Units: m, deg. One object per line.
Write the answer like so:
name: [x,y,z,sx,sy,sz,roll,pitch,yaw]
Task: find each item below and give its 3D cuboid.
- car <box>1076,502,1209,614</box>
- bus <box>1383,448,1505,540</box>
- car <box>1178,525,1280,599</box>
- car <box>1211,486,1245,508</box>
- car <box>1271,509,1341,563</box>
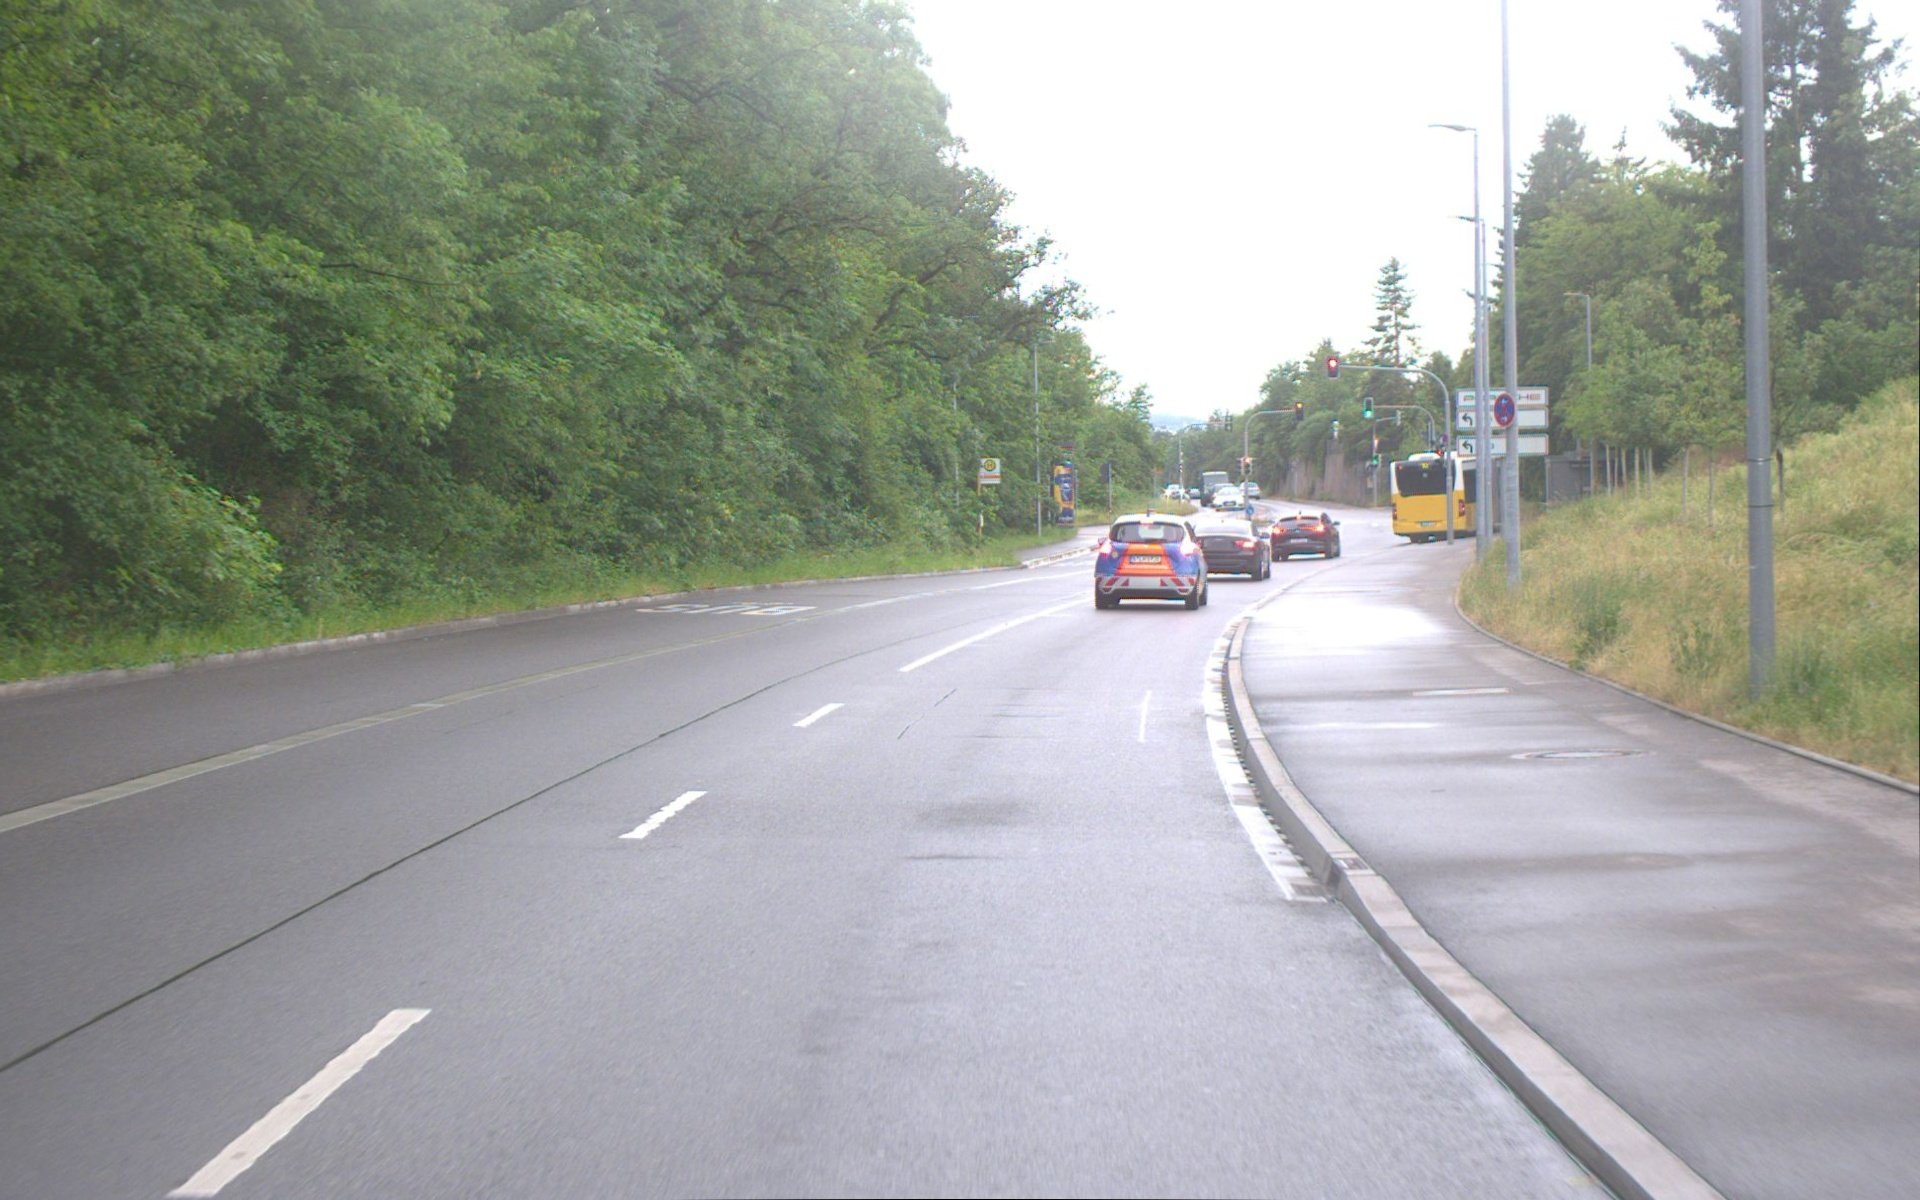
car: [3.115,-0.738,57.937,1.994,1.683,4.000,-2,2,6]
bus: [17.240,-3.721,122.007,2.819,3.132,9.173,0,1,18]
car: [6.097,-0.868,77.578,1.928,1.481,3.798,-1,3,9]
car: [17.371,-6.674,223.003,1.993,1.415,4.000,0,1,2]
car: [10.182,-1.895,101.266,1.994,1.546,3.999,0,1,5]
